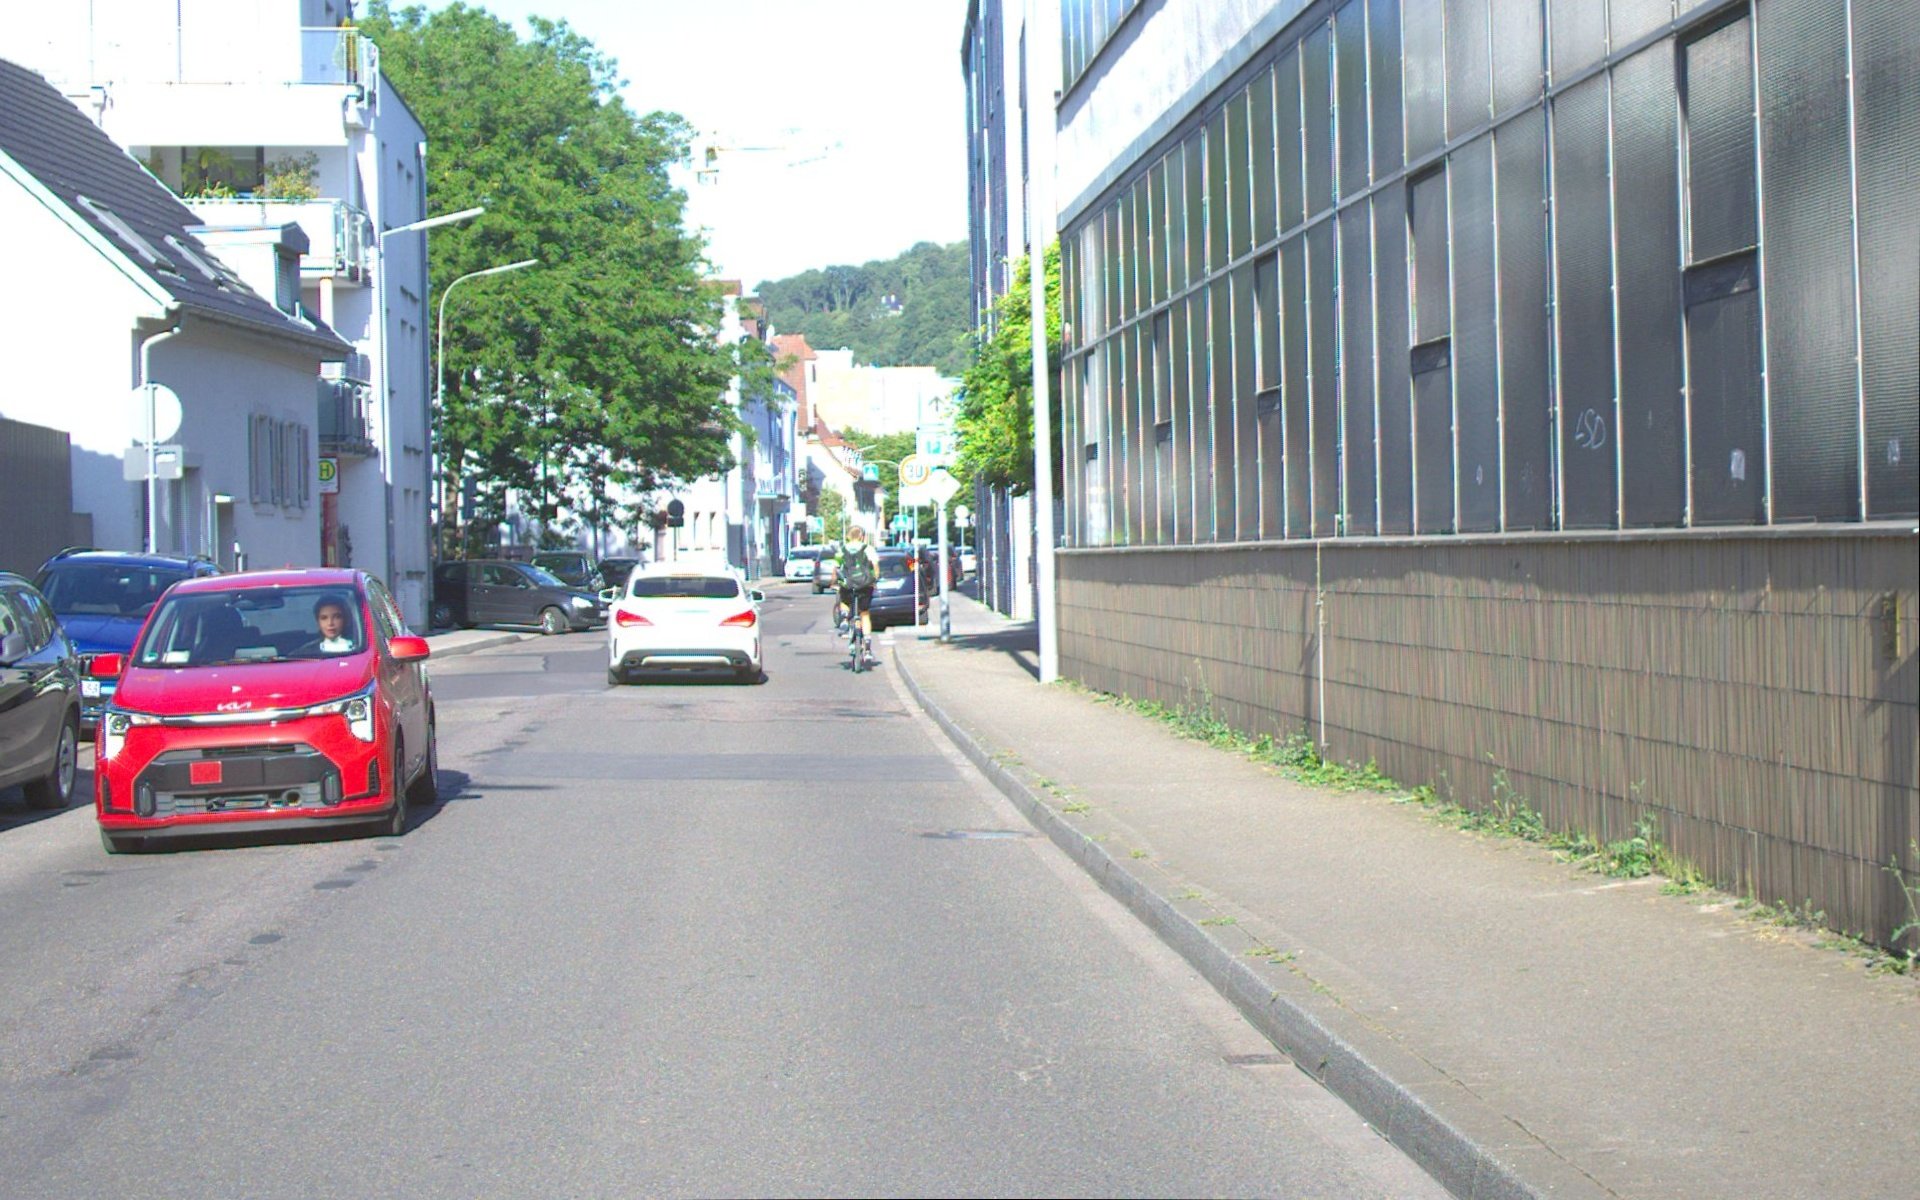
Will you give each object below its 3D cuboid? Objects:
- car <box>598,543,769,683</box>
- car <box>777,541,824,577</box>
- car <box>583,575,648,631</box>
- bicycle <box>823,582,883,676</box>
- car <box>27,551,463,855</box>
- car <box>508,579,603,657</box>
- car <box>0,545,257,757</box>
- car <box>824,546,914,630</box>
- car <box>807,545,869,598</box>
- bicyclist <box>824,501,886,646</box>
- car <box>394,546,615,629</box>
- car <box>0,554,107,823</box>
[{"bbox_3d":[-3.240,0.168,40.576,1.842,1.486,4.144,3,-1,-4],"label":"car"},{"bbox_3d":[-7.366,-1.884,159.265,1.945,1.582,4.621,-1,-1,0],"label":"car"},{"bbox_3d":[-10.320,0.080,103.097,1.704,1.570,3.914,3,0,-3],"label":"car"},{"bbox_3d":[-1.366,0.376,43.840,0.698,1.126,2.403,3,-1,-2],"label":"bicycle"},{"bbox_3d":[-3.986,0.517,19.815,1.842,1.486,4.145,-3,0,-4],"label":"car"},{"bbox_3d":[-9.965,0.440,84.903,1.853,1.785,4.607,3,0,-2],"label":"car"},{"bbox_3d":[-7.353,0.380,29.753,1.808,1.581,4.193,4,1,-3],"label":"car"},{"bbox_3d":[-1.821,-0.216,67.820,1.629,1.582,4.069,-1,-1,-3],"label":"car"},{"bbox_3d":[-4.336,-0.992,121.661,1.853,1.785,4.608,3,0,-5],"label":"car"},{"bbox_3d":[-1.338,-0.326,43.809,0.698,1.784,1.041,3,-1,-2],"label":"bicyclist"},{"bbox_3d":[-9.411,-0.252,71.182,4.132,1.486,1.847,2,-1,9],"label":"car"},{"bbox_3d":[-6.631,0.480,20.970,1.857,1.581,4.336,4,0,-3],"label":"car"}]
